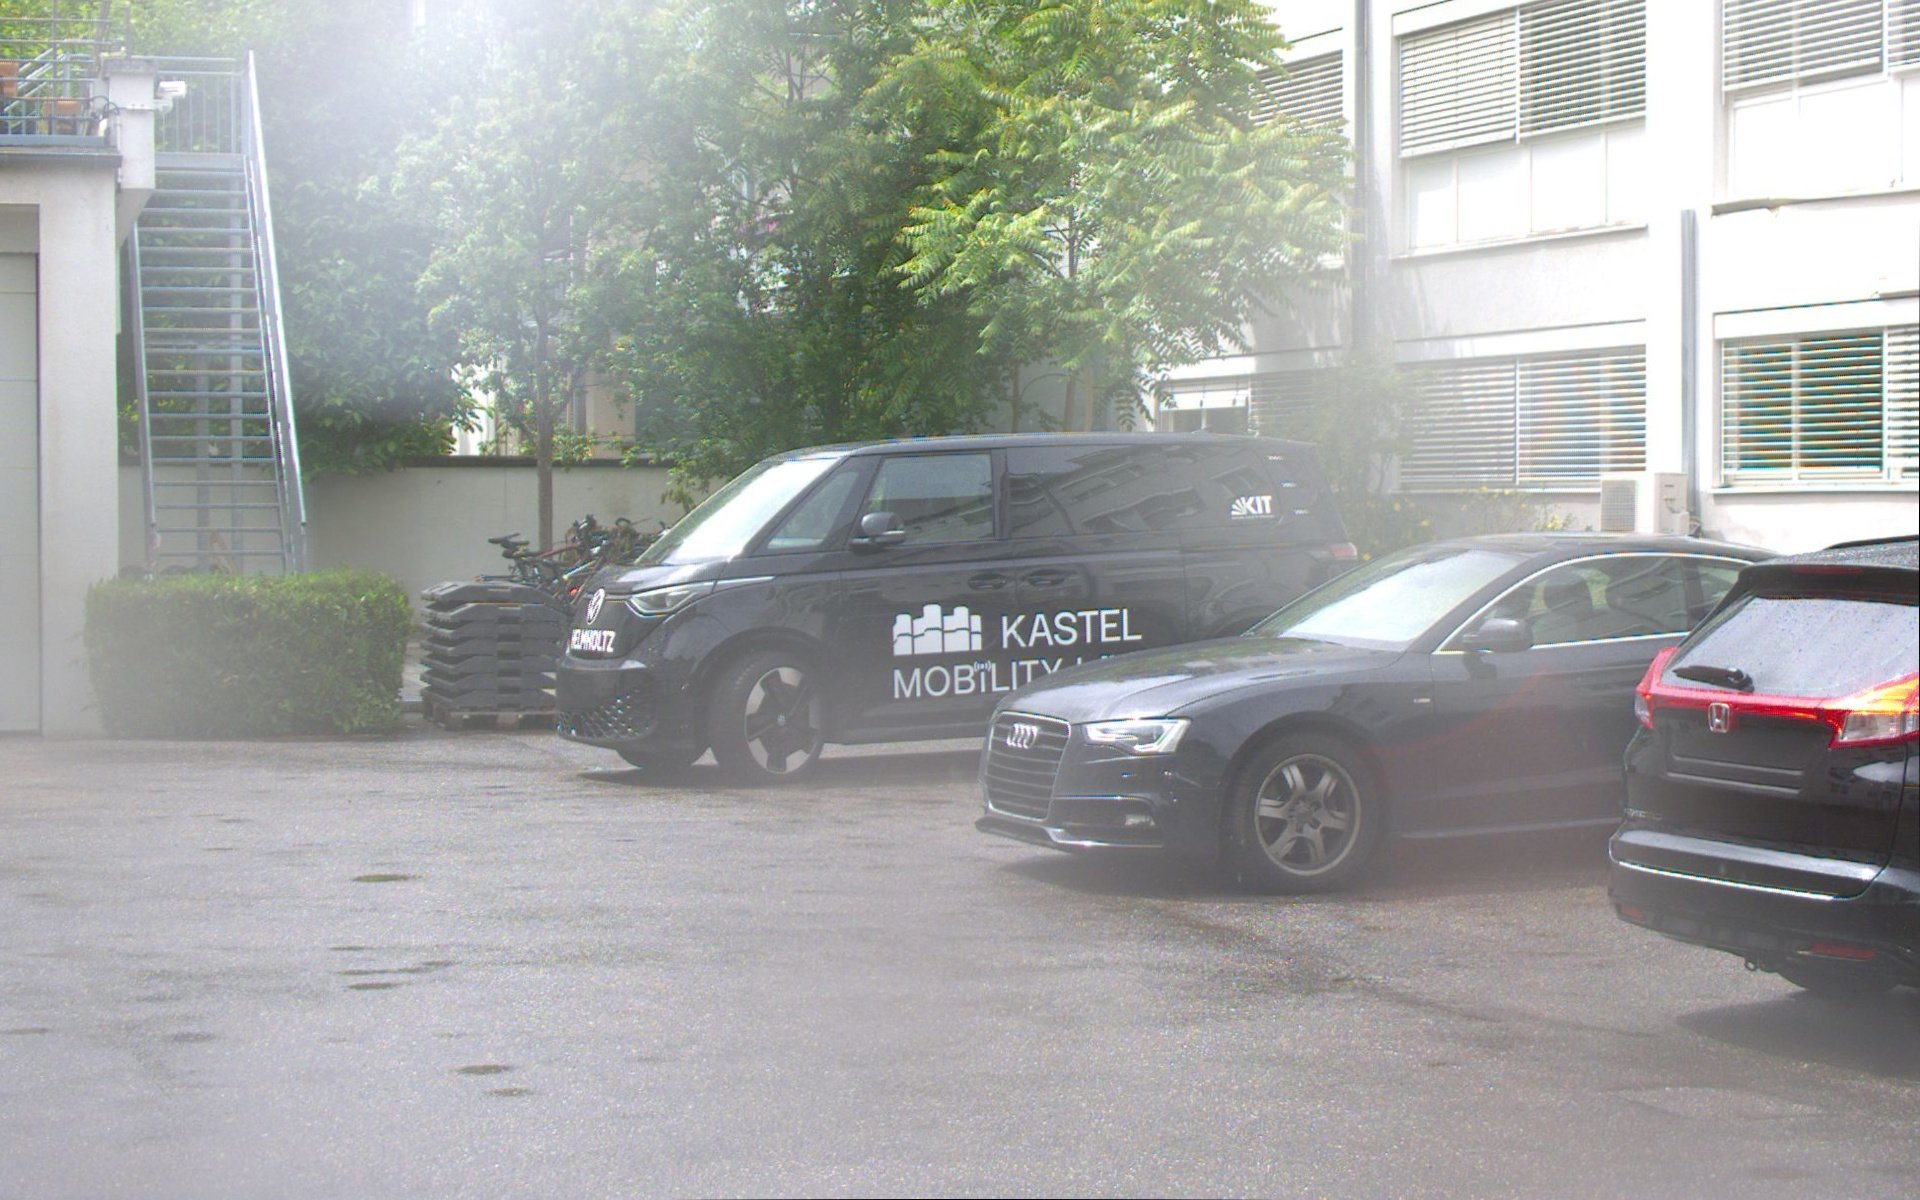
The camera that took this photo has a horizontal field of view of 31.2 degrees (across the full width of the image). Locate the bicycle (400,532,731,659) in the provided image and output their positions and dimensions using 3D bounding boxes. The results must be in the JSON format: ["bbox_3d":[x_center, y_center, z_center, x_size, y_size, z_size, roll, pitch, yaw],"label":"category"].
[{"bbox_3d":[-3.526,-0.035,30.782,2.842,1.074,0.690,1,2,-19],"label":"bicycle"}]

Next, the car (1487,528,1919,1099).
[{"bbox_3d":[3.895,0.472,10.273,4.169,1.396,1.940,-2,2,-23],"label":"car"}]

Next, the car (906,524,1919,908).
[{"bbox_3d":[2.141,0.397,14.530,4.352,1.344,1.861,-1,3,-23],"label":"car"}]

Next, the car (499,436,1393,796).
[{"bbox_3d":[-0.086,0.012,19.942,4.708,1.827,2.111,-2,2,-23],"label":"car"}]

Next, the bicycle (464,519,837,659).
[{"bbox_3d":[-2.519,-0.085,28.028,2.922,1.074,0.690,1,2,-19],"label":"bicycle"}]

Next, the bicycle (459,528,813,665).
[{"bbox_3d":[-2.708,-0.026,28.792,2.842,1.074,0.690,1,2,-19],"label":"bicycle"}]

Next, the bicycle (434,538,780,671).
[{"bbox_3d":[-3.019,0.044,29.454,2.842,1.074,0.690,1,2,-19],"label":"bicycle"}]

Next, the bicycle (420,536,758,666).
[{"bbox_3d":[-3.247,0.011,30.131,2.842,1.074,0.690,1,2,-19],"label":"bicycle"}]
